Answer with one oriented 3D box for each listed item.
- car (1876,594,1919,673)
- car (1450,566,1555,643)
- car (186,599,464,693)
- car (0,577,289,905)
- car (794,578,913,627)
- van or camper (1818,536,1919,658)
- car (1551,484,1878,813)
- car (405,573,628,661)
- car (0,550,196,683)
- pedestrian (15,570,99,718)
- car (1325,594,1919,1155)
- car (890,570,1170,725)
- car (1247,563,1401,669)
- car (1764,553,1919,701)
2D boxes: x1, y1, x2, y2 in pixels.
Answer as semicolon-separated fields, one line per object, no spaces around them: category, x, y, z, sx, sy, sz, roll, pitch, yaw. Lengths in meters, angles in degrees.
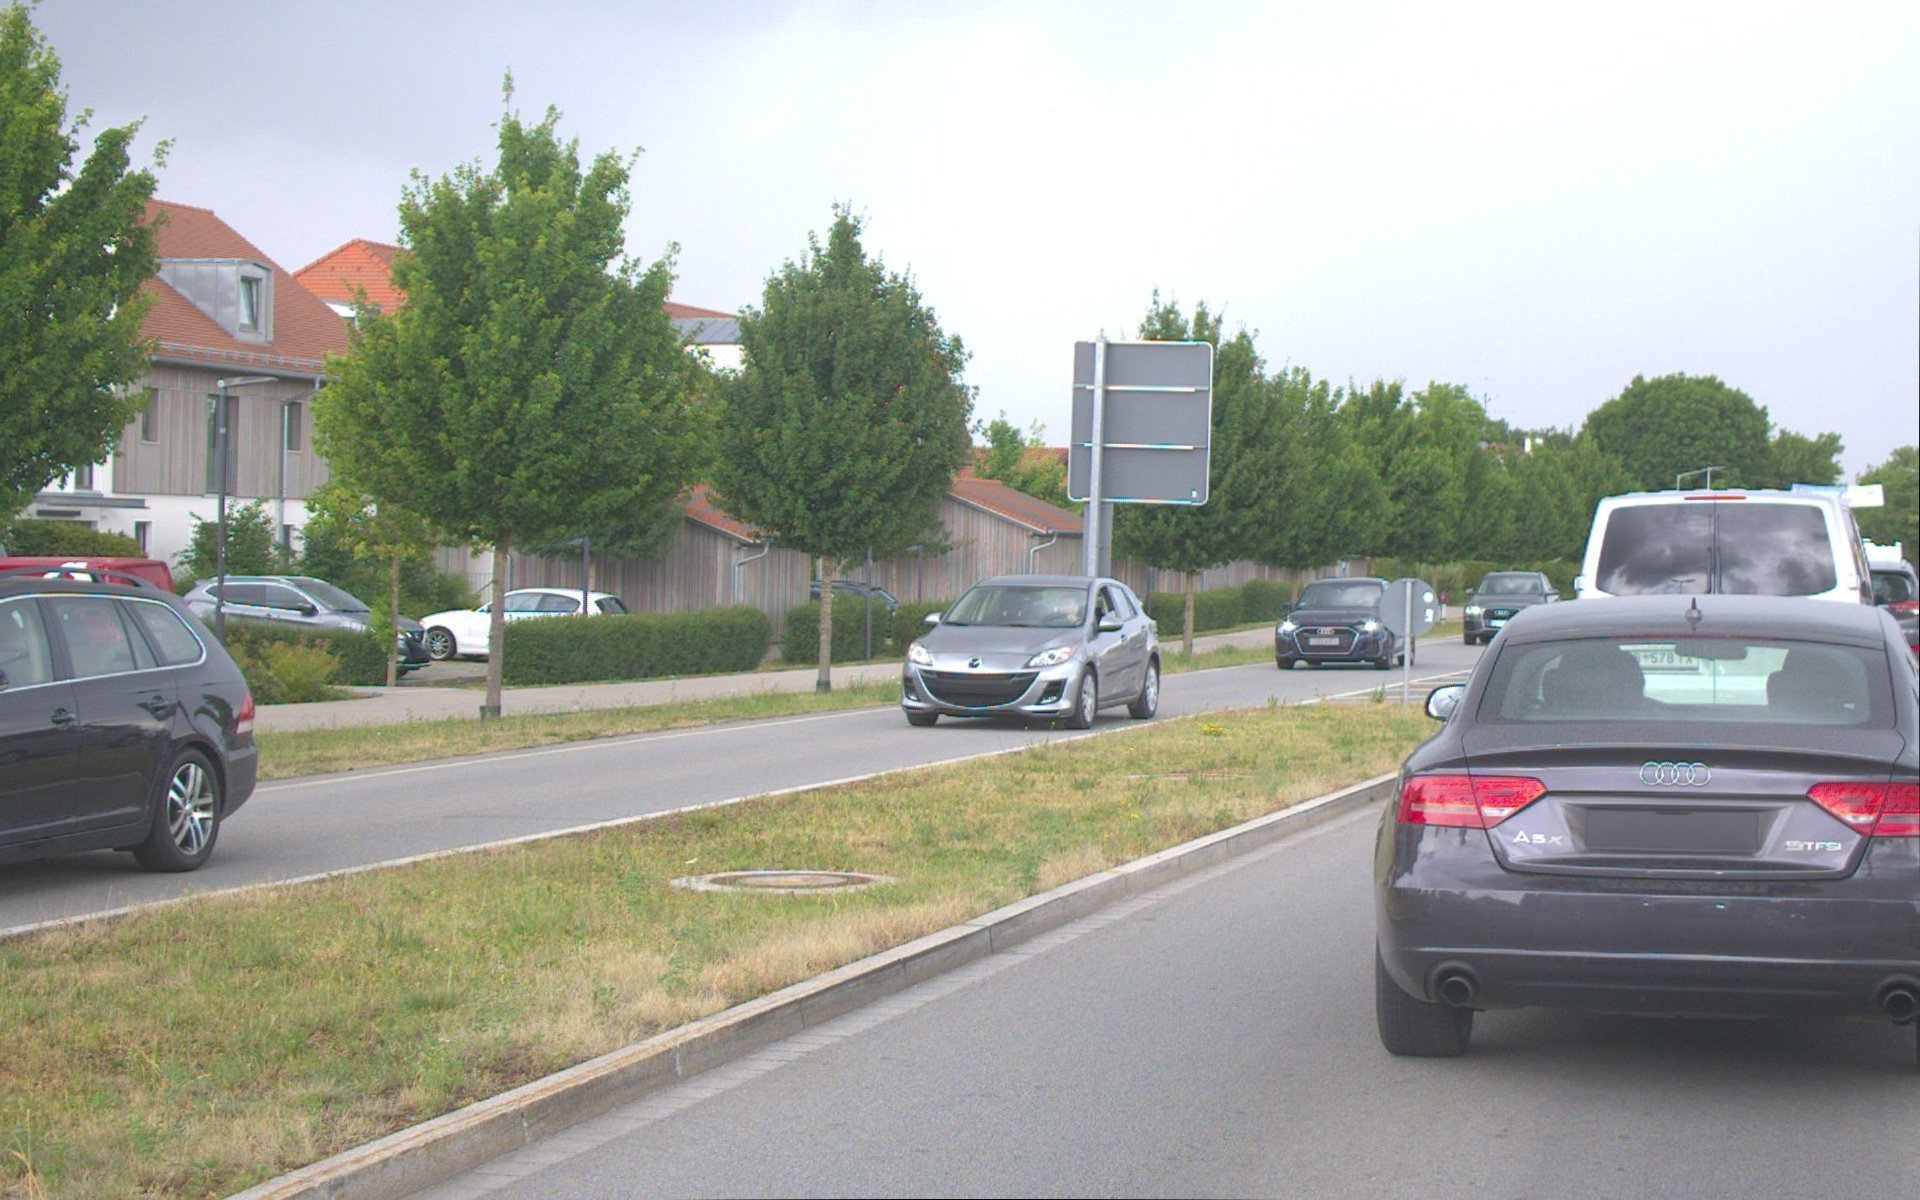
car;17.503;0.613;62.680;1.440;1.368;3.509;2;1;16
car;11.819;0.076;74.727;1.868;1.568;3.997;2;1;14
car;-10.090;0.712;54.727;3.917;1.310;1.841;2;1;13
car;-4.863;0.606;15.414;1.755;1.411;4.452;0;0;17
car;-2.406;0.048;77.696;2.473;1.025;1.185;2;1;10
van or camper;26.287;-0.059;99.501;2.627;3.312;6.816;2;0;15
car;5.048;0.272;22.878;1.868;1.927;3.998;2;1;13
car;-8.264;0.300;64.118;3.731;1.477;1.685;2;1;13
car;-12.904;0.178;46.641;4.534;1.674;1.998;2;1;19
pedestrian;-9.664;0.465;36.810;0.582;1.553;0.659;2;1;14
car;2.364;0.718;11.138;1.785;1.387;4.130;2;1;13
car;0.759;0.439;33.671;1.731;1.405;4.202;1;0;16
car;5.841;0.230;54.758;1.868;1.568;3.997;2;1;14
car;10.515;0.291;40.499;1.778;1.612;3.997;2;1;16
